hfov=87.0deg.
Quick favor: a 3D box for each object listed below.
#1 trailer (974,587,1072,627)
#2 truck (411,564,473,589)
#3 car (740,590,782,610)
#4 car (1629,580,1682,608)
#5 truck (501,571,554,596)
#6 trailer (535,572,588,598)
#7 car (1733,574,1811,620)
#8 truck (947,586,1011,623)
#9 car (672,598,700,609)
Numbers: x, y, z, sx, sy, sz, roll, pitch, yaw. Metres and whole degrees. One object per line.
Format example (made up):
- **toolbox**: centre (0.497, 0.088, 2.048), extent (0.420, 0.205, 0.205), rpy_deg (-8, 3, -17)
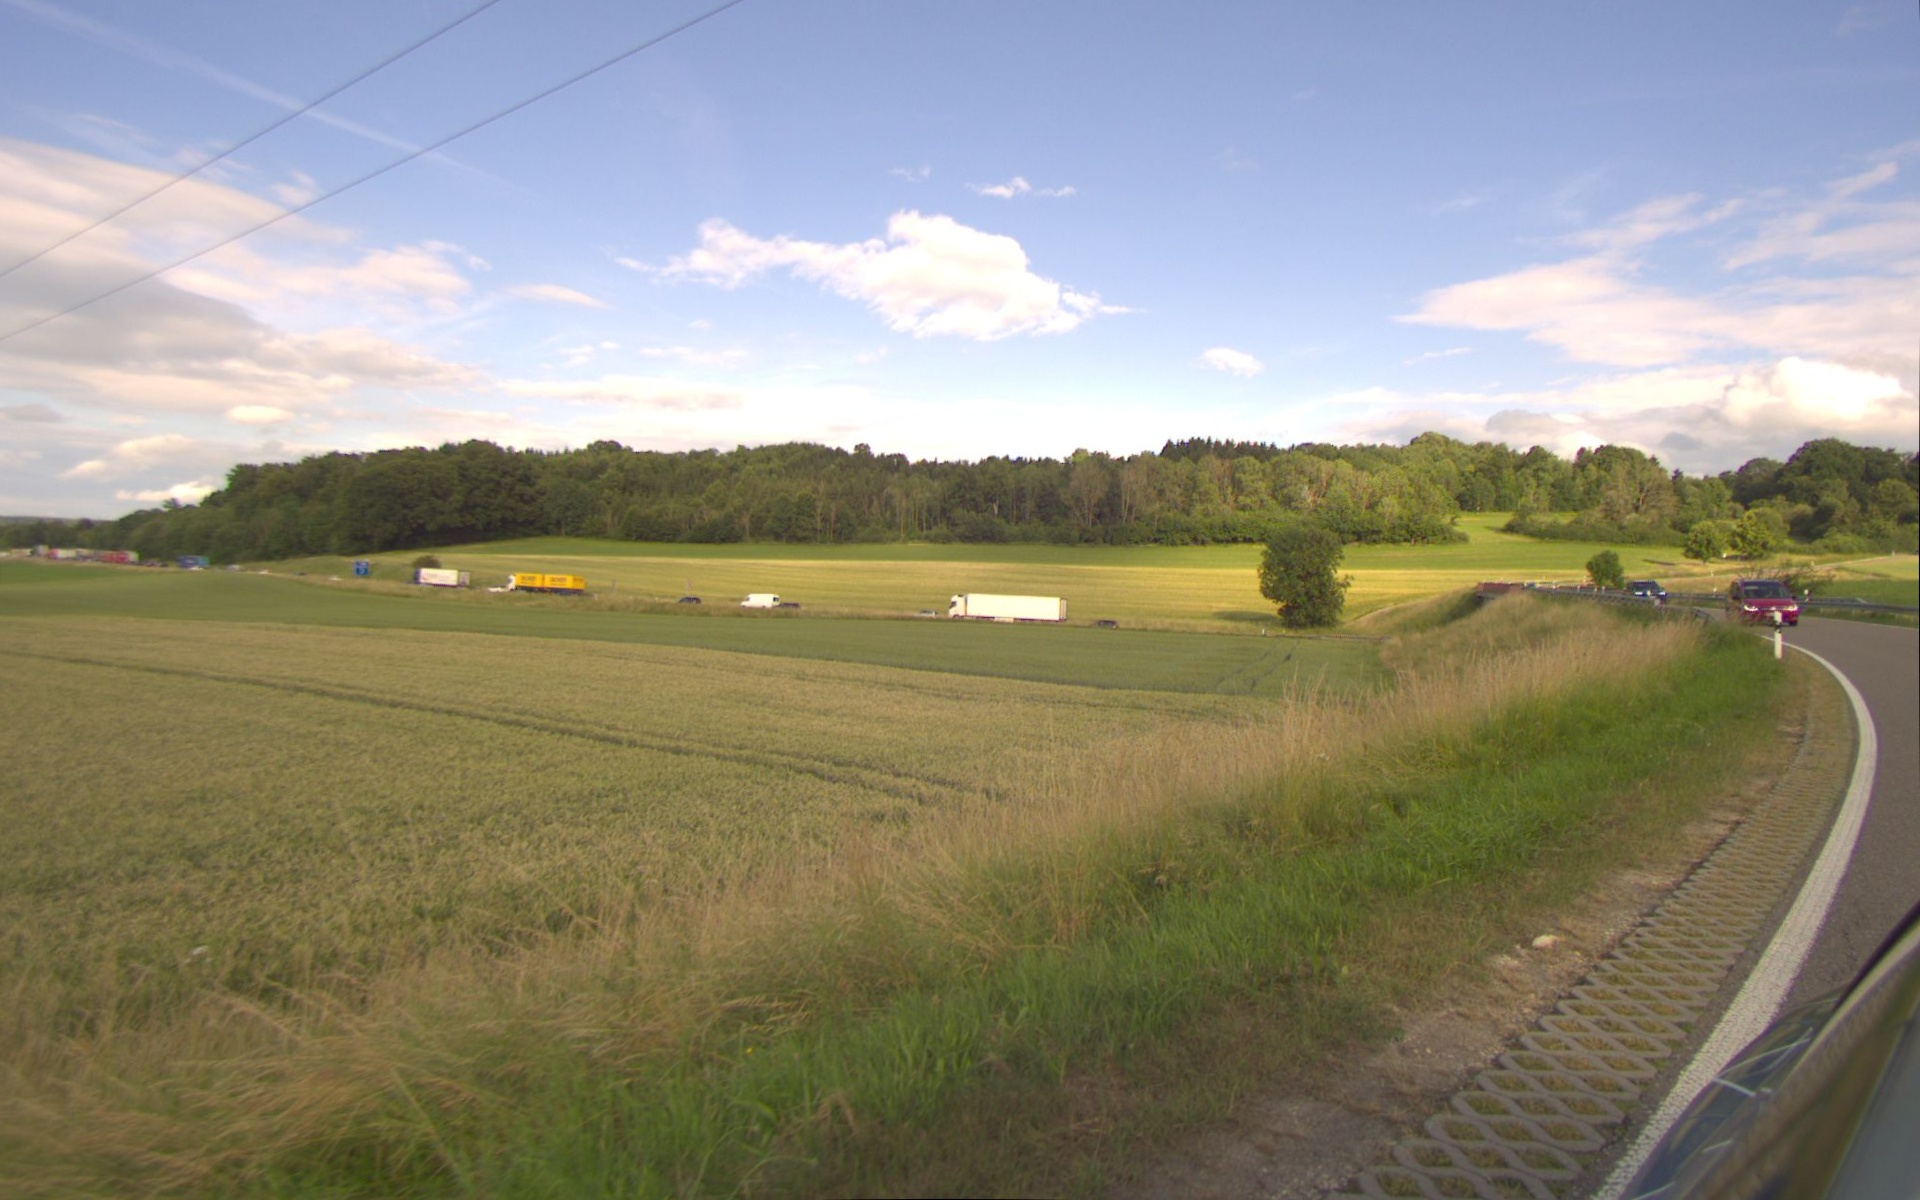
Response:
- **trailer**: centre (8.289, 0.900, 133.988), extent (12.603, 4.525, 3.004), rpy_deg (3, 0, 27)
- **truck**: centre (-102.015, -4.599, 199.066), extent (14.316, 4.042, 4.037), rpy_deg (4, 7, 32)
- **car**: centre (-30.311, 0.000, 154.223), extent (6.063, 2.618, 2.351), rpy_deg (3, -2, 26)
- **car**: centre (44.388, -0.391, 64.709), extent (1.800, 1.631, 3.973), rpy_deg (3, 2, 20)
- **truck**: centre (-78.165, -2.994, 182.920), extent (9.723, 4.108, 3.798), rpy_deg (3, 4, 31)
- **trailer**: centre (-70.139, -2.636, 178.144), extent (9.052, 4.108, 3.800), rpy_deg (3, 4, 30)
- **car**: centre (31.943, -0.099, 39.921), extent (1.807, 1.676, 3.955), rpy_deg (-3, -2, 31)
- **truck**: centre (2.535, 0.615, 136.903), extent (7.977, 4.525, 3.001), rpy_deg (3, 0, 27)
- **car**: centre (-41.501, 0.529, 153.369), extent (3.959, 1.538, 1.668), rpy_deg (2, 1, 26)
